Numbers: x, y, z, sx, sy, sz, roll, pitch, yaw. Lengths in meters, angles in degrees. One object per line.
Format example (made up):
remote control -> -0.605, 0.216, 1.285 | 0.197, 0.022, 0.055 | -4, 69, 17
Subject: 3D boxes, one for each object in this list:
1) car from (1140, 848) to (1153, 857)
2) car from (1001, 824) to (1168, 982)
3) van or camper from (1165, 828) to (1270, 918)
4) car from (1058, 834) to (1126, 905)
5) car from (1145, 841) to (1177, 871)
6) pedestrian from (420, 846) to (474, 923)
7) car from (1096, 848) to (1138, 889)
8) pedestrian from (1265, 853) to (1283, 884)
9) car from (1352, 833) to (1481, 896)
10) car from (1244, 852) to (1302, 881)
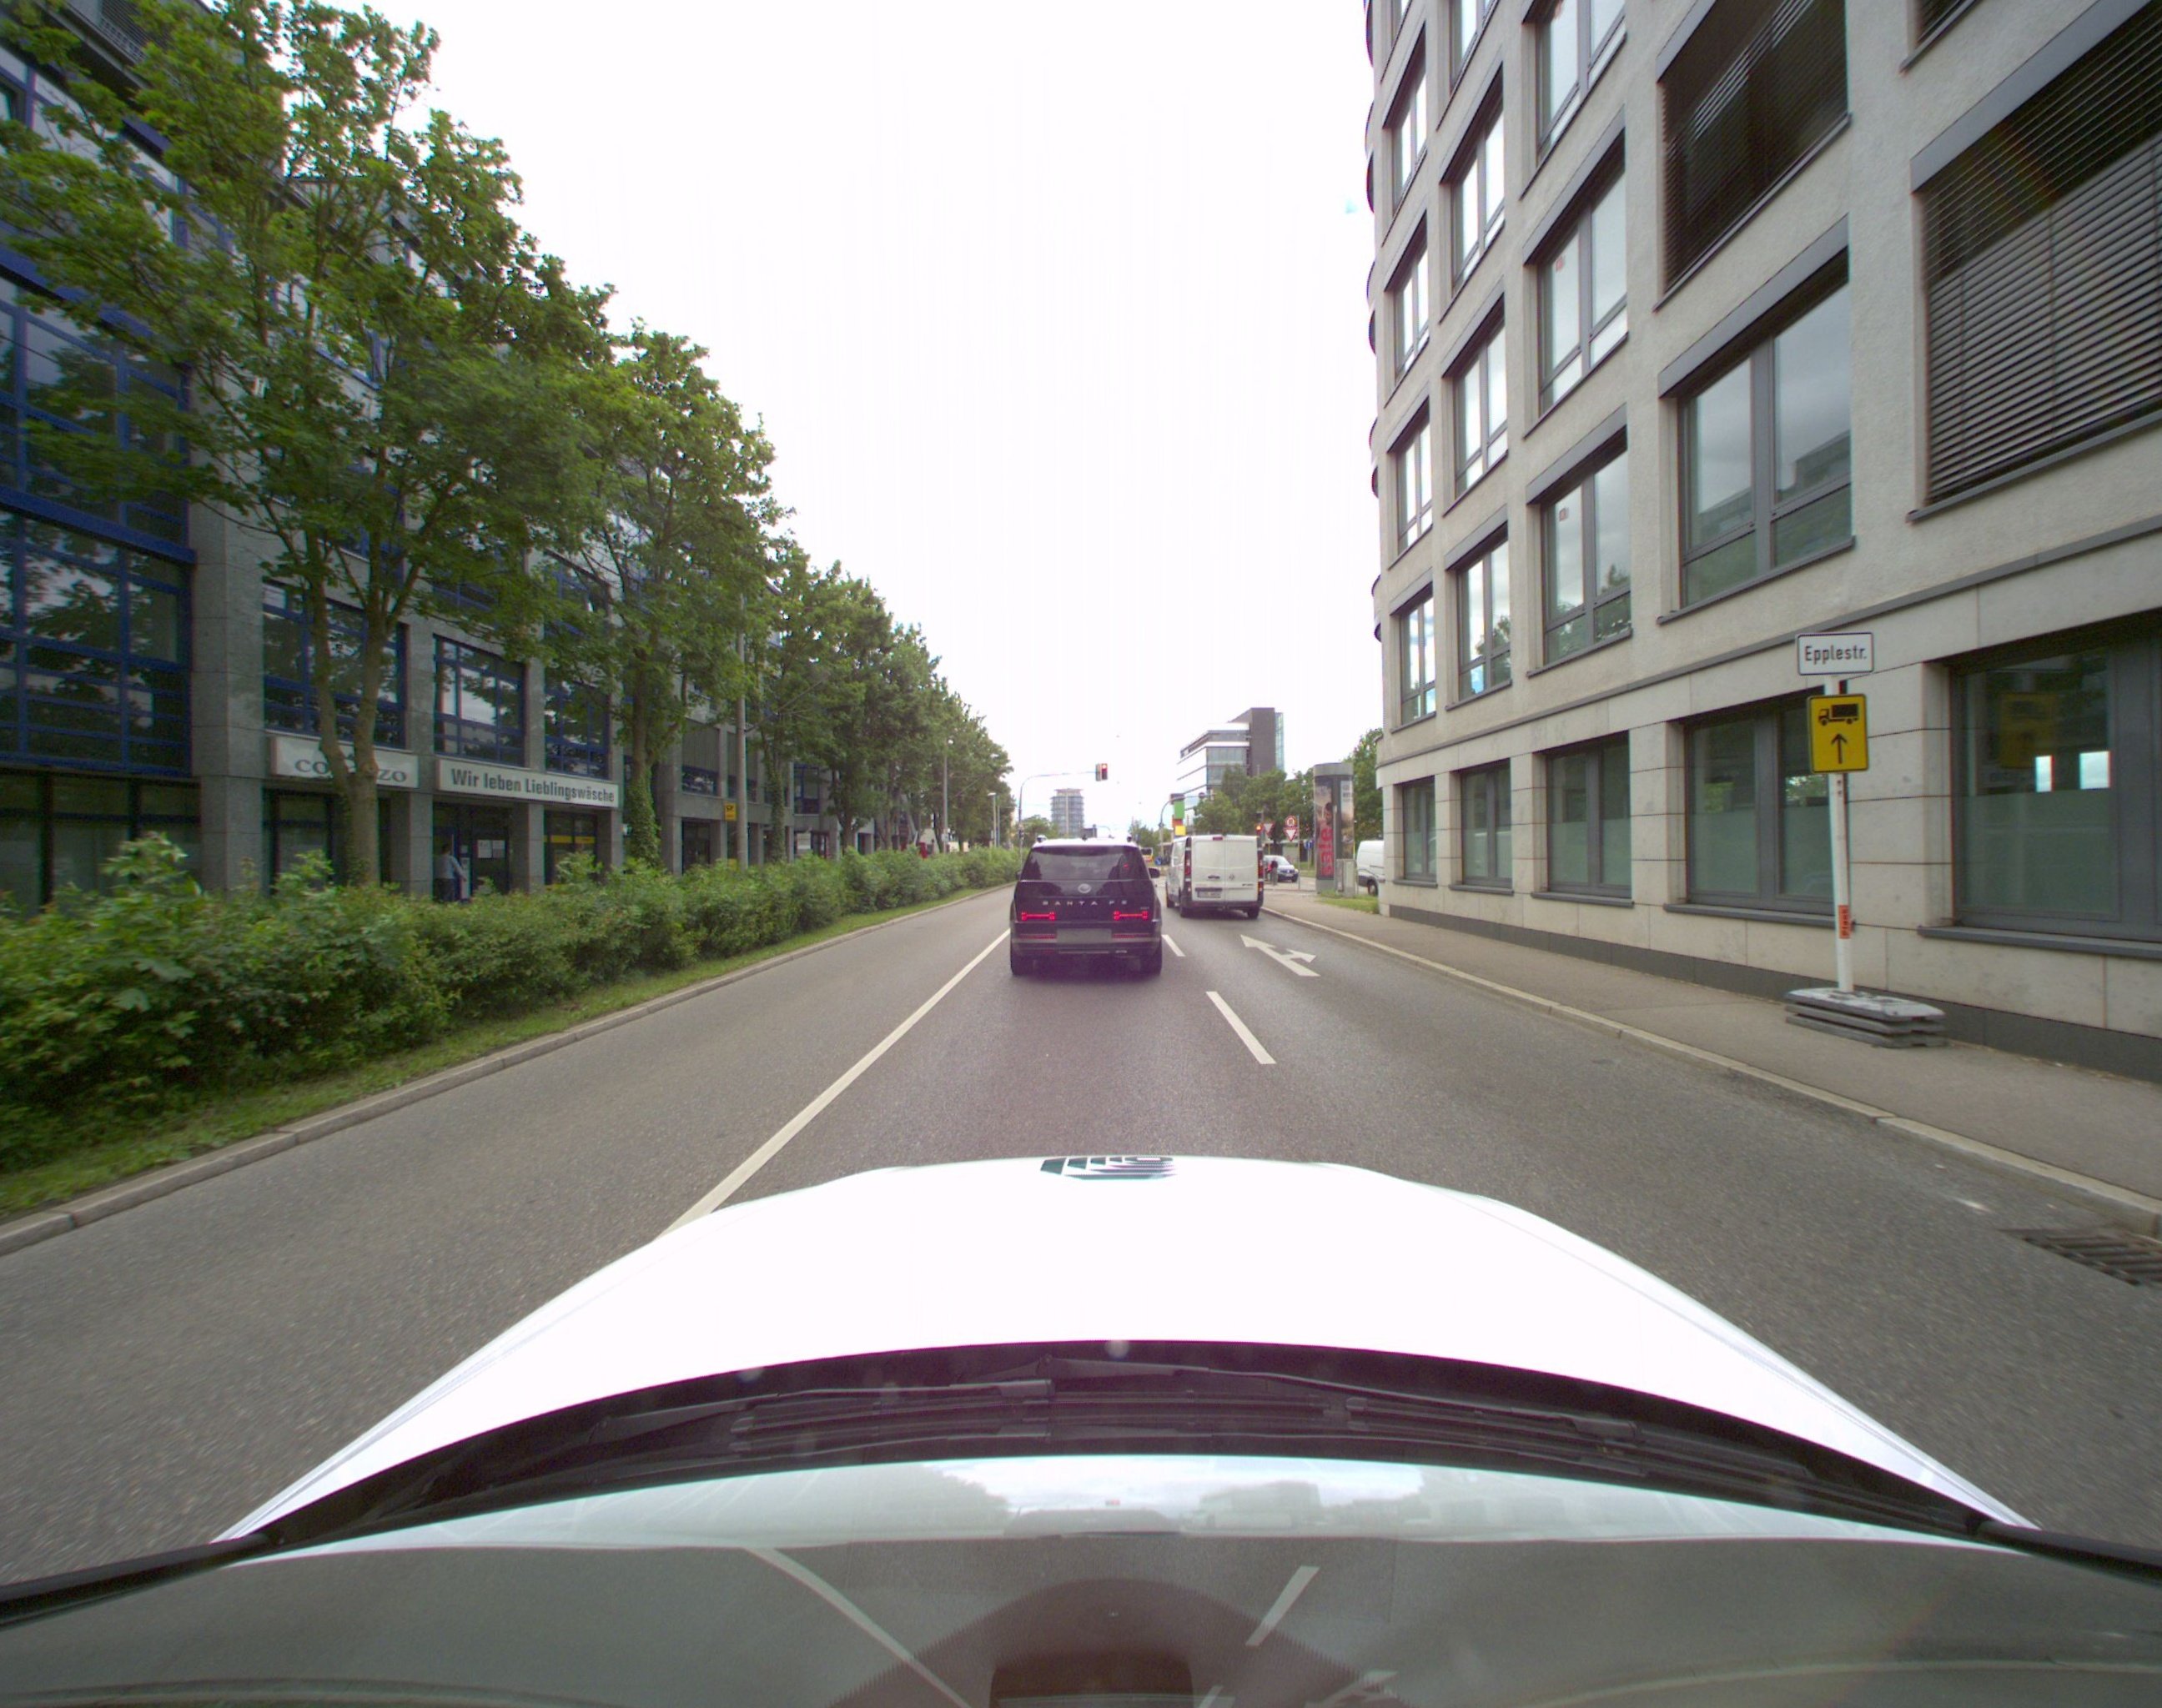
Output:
car -> 11.962, -0.286, 148.476 | 1.988, 1.684, 3.998 | 0, -1, -1
car -> 0.086, 0.554, 11.176 | 1.862, 1.760, 3.881 | -1, 0, 1
van or camper -> 3.305, 0.426, 20.610 | 1.986, 2.013, 4.654 | 0, 0, 1
car -> 0.360, 0.447, 25.425 | 1.908, 2.003, 3.880 | -1, 0, 1
car -> 5.549, 0.183, 57.028 | 1.986, 2.014, 4.002 | 0, -1, 2
pedestrian -> -15.982, 0.759, 20.540 | 0.771, 1.894, 0.731 | 0, -1, 1
car -> 1.634, 0.631, 36.723 | 1.768, 1.717, 4.342 | 0, -1, 3
pedestrian -> 10.182, 0.762, 43.012 | 0.744, 1.584, 0.567 | 1, 0, -39
car -> 14.806, 0.467, 36.415 | 2.302, 2.573, 5.808 | 0, -1, -15
car -> 11.486, 0.753, 48.869 | 1.703, 1.684, 3.767 | 0, -1, -18
